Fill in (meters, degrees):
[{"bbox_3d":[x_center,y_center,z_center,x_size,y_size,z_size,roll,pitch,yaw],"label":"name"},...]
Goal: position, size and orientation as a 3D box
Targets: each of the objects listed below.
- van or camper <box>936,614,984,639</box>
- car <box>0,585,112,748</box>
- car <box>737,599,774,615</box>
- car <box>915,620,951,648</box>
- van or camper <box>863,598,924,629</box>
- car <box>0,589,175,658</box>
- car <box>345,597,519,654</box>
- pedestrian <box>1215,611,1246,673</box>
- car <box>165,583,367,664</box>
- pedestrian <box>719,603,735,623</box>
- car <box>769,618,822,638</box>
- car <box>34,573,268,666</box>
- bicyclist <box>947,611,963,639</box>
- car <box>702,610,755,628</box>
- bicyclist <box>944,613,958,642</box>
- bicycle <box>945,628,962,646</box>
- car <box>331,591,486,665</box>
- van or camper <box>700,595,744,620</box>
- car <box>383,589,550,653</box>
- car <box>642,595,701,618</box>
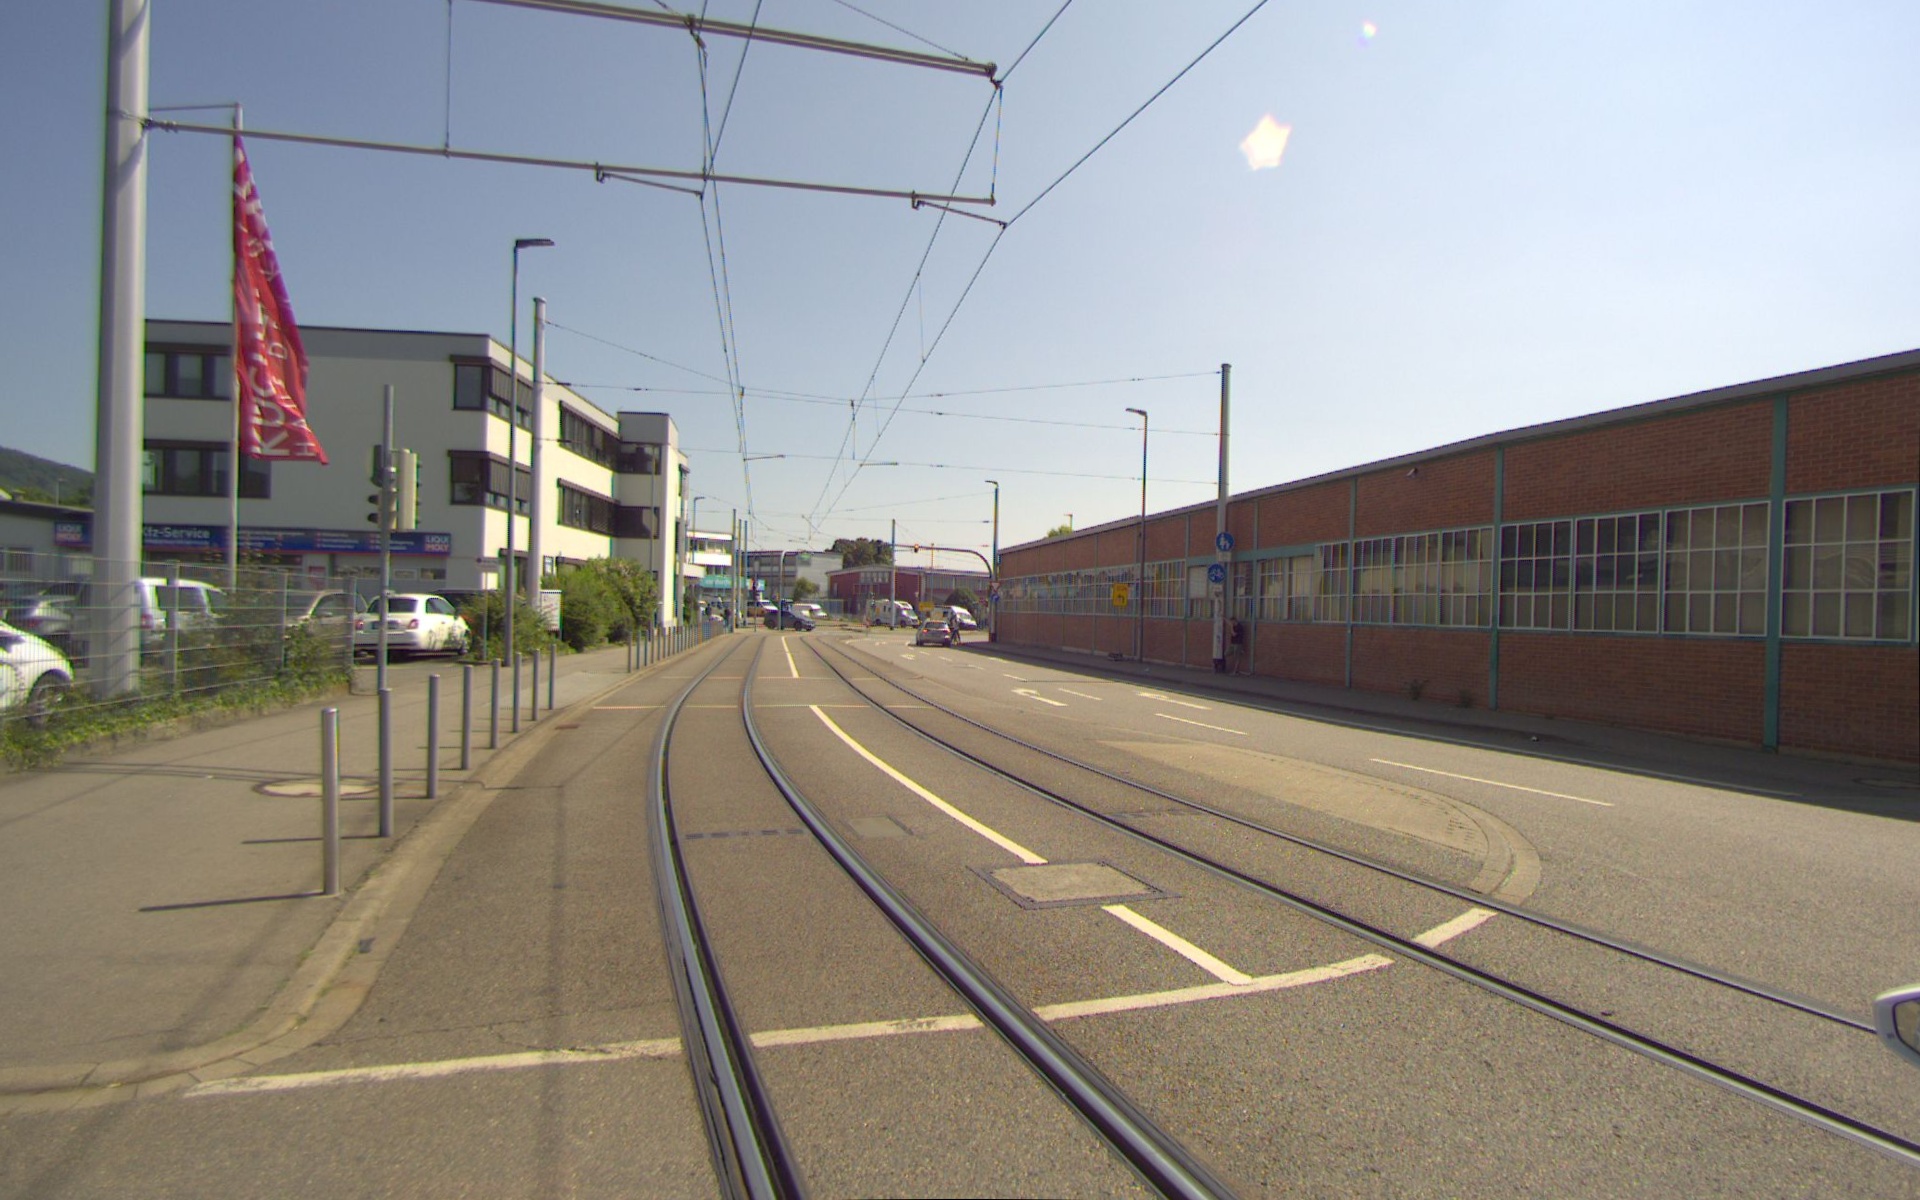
[{"bbox_3d":[-0.029,3.008,115.047,5.312,2.473,2.276,6,3,44],"label":"van or camper"},{"bbox_3d":[-9.265,0.543,8.290,1.683,1.452,3.947,2,-2,-11],"label":"car"},{"bbox_3d":[-24.285,0.786,119.406,1.931,1.782,5.057,2,-1,-43],"label":"car"},{"bbox_3d":[-1.583,1.945,57.616,1.719,1.478,3.996,2,-1,-6],"label":"car"},{"bbox_3d":[-7.488,1.458,112.177,6.877,2.970,2.344,4,2,38],"label":"van or camper"},{"bbox_3d":[-19.733,0.482,22.137,1.811,1.376,3.999,2,-1,-3],"label":"car"},{"bbox_3d":[-14.304,0.692,27.394,3.765,1.388,1.746,2,-1,-8],"label":"car"},{"bbox_3d":[7.996,1.236,29.725,0.674,1.789,0.448,2,2,-10],"label":"pedestrian"},{"bbox_3d":[-15.106,0.501,22.160,1.821,1.589,3.934,1,-1,-3],"label":"car"},{"bbox_3d":[-18.225,1.019,78.462,1.116,1.474,0.834,2,-1,-19],"label":"pedestrian"},{"bbox_3d":[-13.830,2.352,84.553,3.919,1.528,1.881,1,-1,13],"label":"car"},{"bbox_3d":[-17.566,0.416,22.103,1.961,1.808,3.999,1,-1,-3],"label":"car"},{"bbox_3d":[-0.321,1.543,62.326,0.773,1.744,1.145,2,-1,-7],"label":"bicyclist"},{"bbox_3d":[-19.917,1.628,86.656,4.121,1.393,1.803,1,-1,1],"label":"car"},{"bbox_3d":[-0.570,1.753,64.434,0.697,1.834,0.982,2,-1,-7],"label":"bicyclist"},{"bbox_3d":[-0.411,2.267,62.557,0.782,1.035,2.149,2,-1,-6],"label":"bicycle"},{"bbox_3d":[-12.934,0.638,23.819,1.708,1.562,3.834,2,-1,-4],"label":"car"},{"bbox_3d":[-24.642,0.754,103.855,2.021,2.327,5.744,1,2,-39],"label":"van or camper"},{"bbox_3d":[-14.426,0.610,29.562,3.927,1.728,1.997,2,-1,-9],"label":"car"},{"bbox_3d":[-21.760,0.474,75.900,3.926,1.539,1.997,2,2,-7],"label":"car"}]
